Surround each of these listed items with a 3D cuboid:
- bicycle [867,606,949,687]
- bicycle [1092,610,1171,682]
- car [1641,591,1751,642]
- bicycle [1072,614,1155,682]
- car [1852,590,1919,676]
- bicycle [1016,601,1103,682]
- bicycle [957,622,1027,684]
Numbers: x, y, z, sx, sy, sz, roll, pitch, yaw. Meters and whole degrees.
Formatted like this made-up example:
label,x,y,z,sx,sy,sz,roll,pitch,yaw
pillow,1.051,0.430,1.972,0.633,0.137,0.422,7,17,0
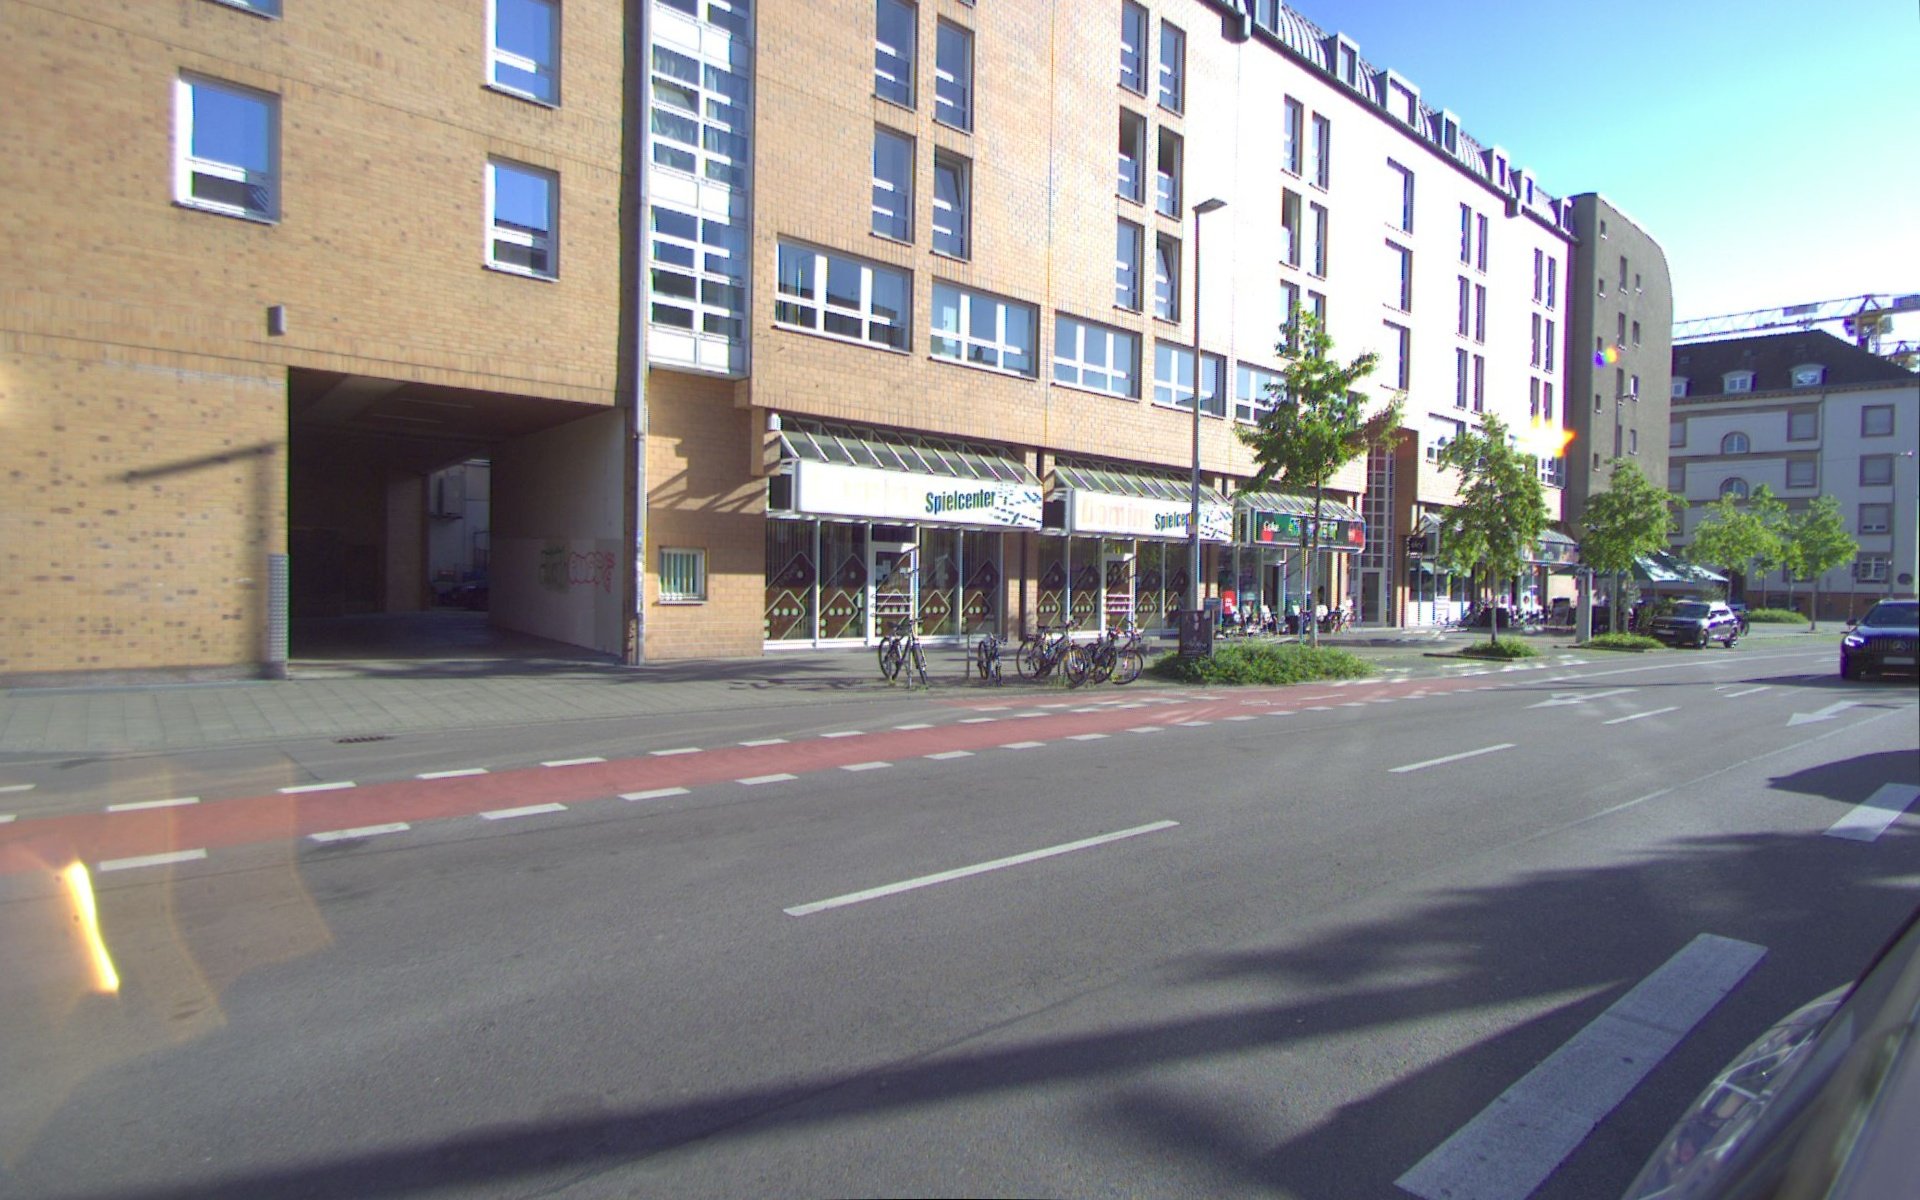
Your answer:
label,x,y,z,sx,sy,sz,roll,pitch,yaw
bicycle,-0.860,0.708,16.118,0.423,1.089,1.776,-1,4,-35
bicycle,2.996,0.779,17.849,0.343,1.069,1.843,0,3,-26
car,25.743,0.537,35.355,3.921,1.660,1.782,0,1,-33
bicycle,2.646,0.806,17.668,0.440,0.997,1.843,0,3,-26
car,19.770,0.618,20.623,4.375,1.615,1.806,0,-1,-41
bicycle,1.660,0.673,17.198,0.553,1.177,1.843,0,3,-26
bicycle,0.500,0.857,16.836,0.359,0.842,1.779,0,3,-26
